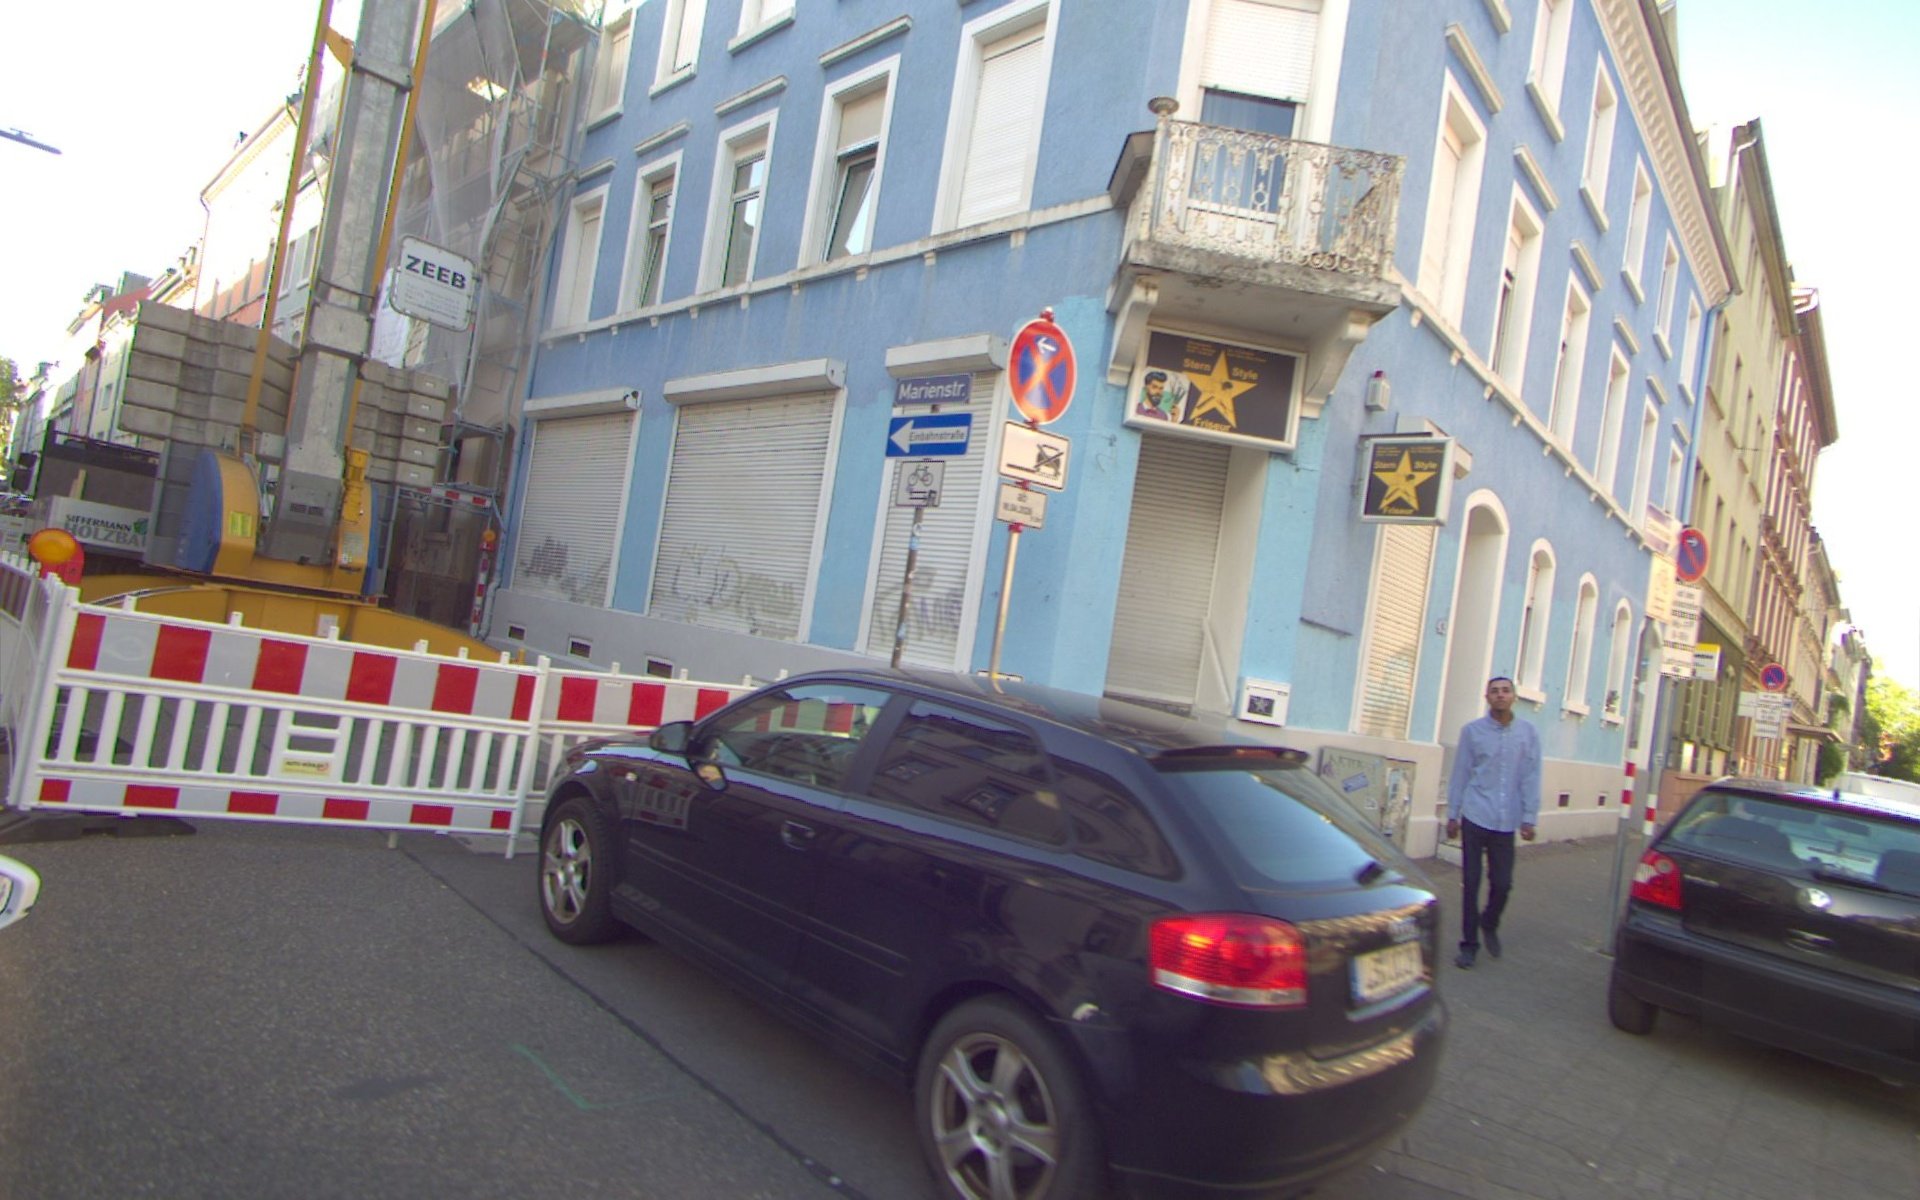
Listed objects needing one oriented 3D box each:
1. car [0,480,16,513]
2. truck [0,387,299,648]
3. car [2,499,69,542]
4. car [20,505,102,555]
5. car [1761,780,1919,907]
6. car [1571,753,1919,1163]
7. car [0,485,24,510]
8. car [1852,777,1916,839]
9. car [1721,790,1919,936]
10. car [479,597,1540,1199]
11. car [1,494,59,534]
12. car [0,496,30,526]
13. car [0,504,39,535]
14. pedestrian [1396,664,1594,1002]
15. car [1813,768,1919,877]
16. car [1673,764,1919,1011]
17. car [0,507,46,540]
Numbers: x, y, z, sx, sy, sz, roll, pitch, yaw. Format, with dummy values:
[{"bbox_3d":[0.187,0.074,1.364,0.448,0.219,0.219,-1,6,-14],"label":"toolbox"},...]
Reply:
[{"bbox_3d":[-80.743,-8.769,83.997,6.682,2.568,2.303,6,-1,44],"label":"car"},{"bbox_3d":[-12.913,-1.203,15.594,7.298,2.843,2.659,6,-4,45],"label":"truck"},{"bbox_3d":[-40.045,-3.452,43.563,3.948,1.539,1.813,6,-1,44],"label":"car"},{"bbox_3d":[-32.648,-2.564,36.482,4.728,1.455,1.813,6,-1,44],"label":"car"},{"bbox_3d":[14.888,3.998,16.832,3.963,1.493,1.734,12,-2,-44],"label":"car"},{"bbox_3d":[5.071,1.850,5.880,1.655,1.469,3.864,7,-4,44],"label":"car"},{"bbox_3d":[-61.705,-6.634,64.859,3.948,1.410,1.707,6,-1,44],"label":"car"},{"bbox_3d":[36.837,8.268,40.081,1.730,2.074,3.900,2,-7,44],"label":"car"},{"bbox_3d":[11.301,3.284,13.054,1.734,1.241,4.147,6,-4,44],"label":"car"},{"bbox_3d":[-0.171,0.984,4.095,3.980,1.449,1.770,6,-4,44],"label":"car"},{"bbox_3d":[-43.893,-4.053,47.476,3.948,1.575,1.707,6,-1,44],"label":"car"},{"bbox_3d":[-58.128,-5.465,61.452,3.948,1.569,1.617,6,-1,44],"label":"car"},{"bbox_3d":[-51.575,-4.413,54.850,3.948,1.400,1.707,6,-1,44],"label":"car"},{"bbox_3d":[3.396,1.421,6.375,0.769,1.869,0.769,7,-3,40],"label":"pedestrian"},{"bbox_3d":[21.330,5.118,23.326,4.531,1.967,1.813,12,-3,-44],"label":"car"},{"bbox_3d":[8.015,2.460,9.175,1.733,1.450,4.466,9,-2,44],"label":"car"},{"bbox_3d":[-47.769,-3.903,51.079,3.948,1.400,1.707,6,-1,44],"label":"car"}]
